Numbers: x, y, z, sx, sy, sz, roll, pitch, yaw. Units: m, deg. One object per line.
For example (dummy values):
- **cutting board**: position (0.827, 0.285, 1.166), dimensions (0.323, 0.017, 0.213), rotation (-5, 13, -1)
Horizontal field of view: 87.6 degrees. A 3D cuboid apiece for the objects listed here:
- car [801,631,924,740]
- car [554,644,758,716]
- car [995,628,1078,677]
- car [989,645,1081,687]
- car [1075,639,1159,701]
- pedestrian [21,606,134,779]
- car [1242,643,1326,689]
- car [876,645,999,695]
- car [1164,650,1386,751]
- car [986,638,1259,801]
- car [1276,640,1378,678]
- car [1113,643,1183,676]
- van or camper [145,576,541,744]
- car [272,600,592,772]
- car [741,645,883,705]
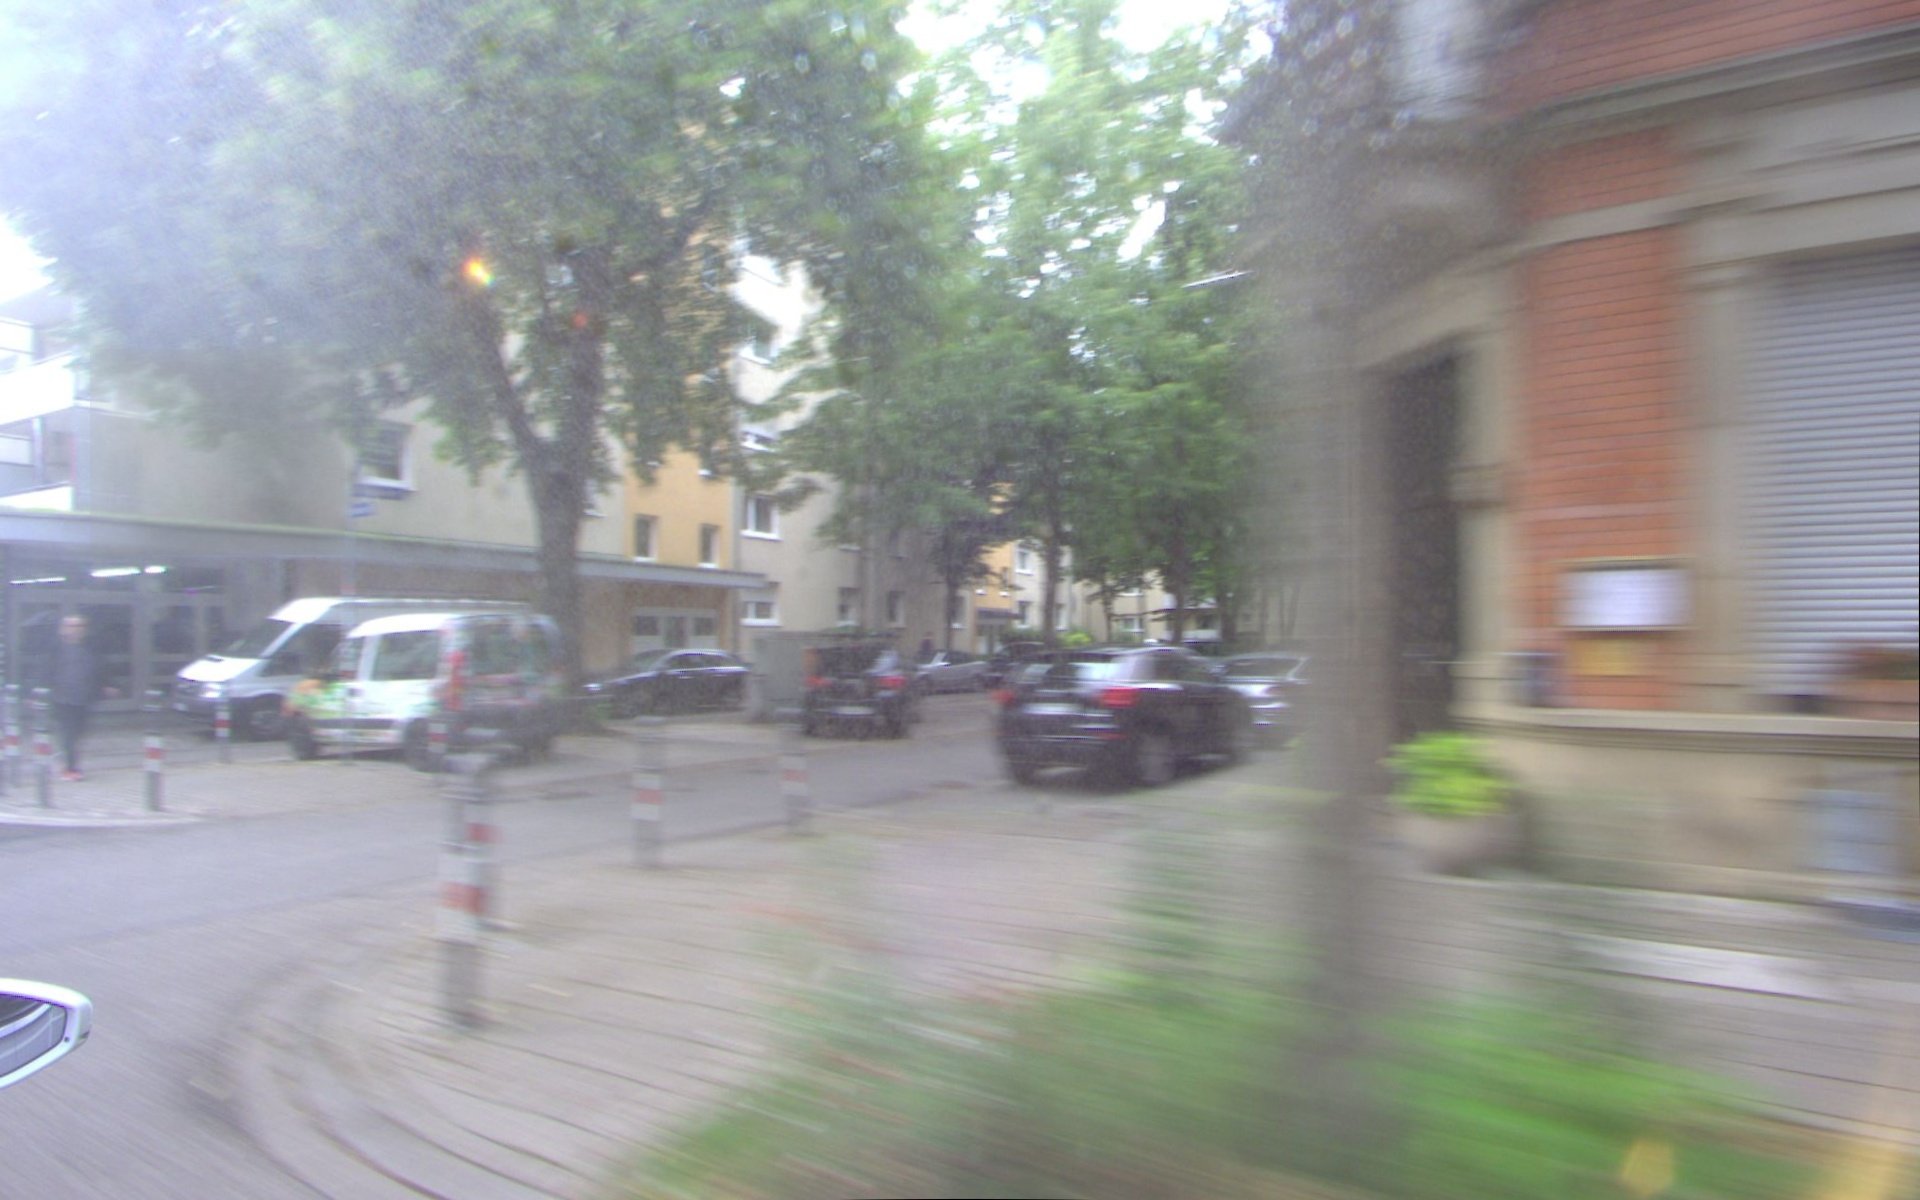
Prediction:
- **car**: position (-1.526, 1.344, 16.947), dimensions (1.652, 1.601, 3.954), rotation (1, -2, 0)
- **car**: position (-6.890, 1.757, 23.008), dimensions (1.885, 1.446, 4.150), rotation (-1, -2, 40)
- **car**: position (3.340, 2.226, 43.138), dimensions (1.972, 2.039, 3.980), rotation (-1, -2, 33)
- **car**: position (2.650, 2.296, 34.847), dimensions (1.492, 1.385, 3.497), rotation (-3, -5, 39)
- **car**: position (3.995, 1.760, 26.035), dimensions (1.632, 1.482, 4.002), rotation (0, -2, 1)
- **pedestrian**: position (-9.703, 0.993, 11.023), dimensions (0.502, 1.819, 0.778), rotation (0, -2, 30)
- **car**: position (11.084, 2.227, 34.522), dimensions (1.632, 1.482, 4.002), rotation (0, -2, 1)
- **car**: position (-0.642, 2.138, 31.374), dimensions (1.754, 1.436, 3.973), rotation (-1, -2, 38)
- **car**: position (5.224, 1.545, 16.236), dimensions (1.977, 1.371, 4.302), rotation (-4, -4, 39)
- **car**: position (2.041, 1.246, 11.651), dimensions (1.639, 1.559, 3.813), rotation (-3, -4, 35)
- **car**: position (14.386, 2.281, 39.466), dimensions (1.708, 1.408, 3.994), rotation (0, -2, -17)
- **car**: position (8.123, 2.579, 43.188), dimensions (1.492, 1.385, 3.497), rotation (-3, -5, 39)
- **van or camper**: position (-10.895, 0.977, 18.246), dimensions (2.106, 2.527, 5.758), rotation (3, 0, 34)
- **car**: position (-6.657, 0.990, 12.546), dimensions (3.941, 1.842, 1.768), rotation (-1, -2, 31)
- **car**: position (-3.915, 1.965, 26.958), dimensions (1.613, 1.446, 3.680), rotation (-1, -2, 40)
